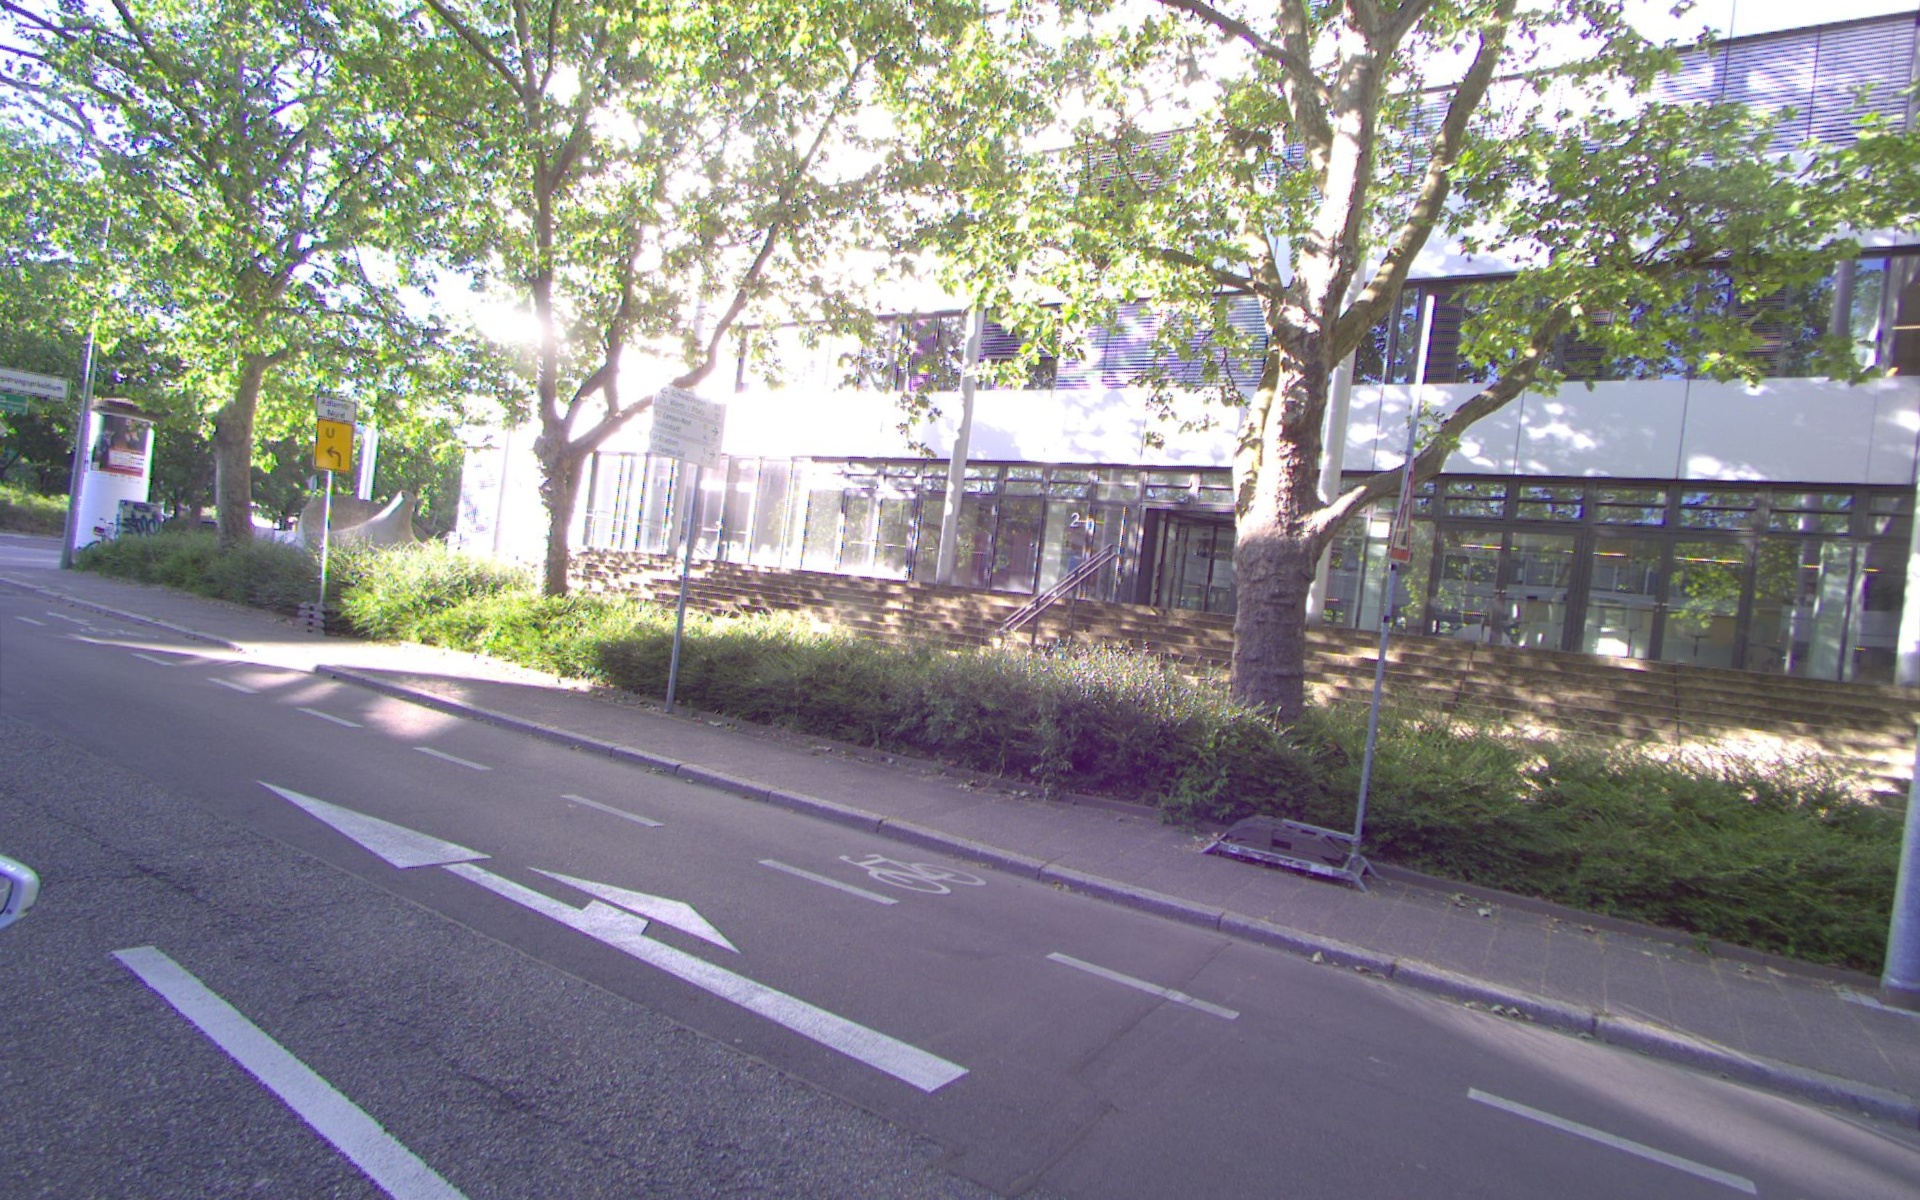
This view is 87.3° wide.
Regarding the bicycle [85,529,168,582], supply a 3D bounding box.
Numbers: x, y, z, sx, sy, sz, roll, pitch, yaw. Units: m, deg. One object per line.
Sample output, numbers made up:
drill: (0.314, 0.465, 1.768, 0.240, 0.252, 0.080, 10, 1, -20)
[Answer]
bicycle: (-19.188, -1.011, 23.182, 0.357, 1.036, 1.354, 7, -1, 33)
